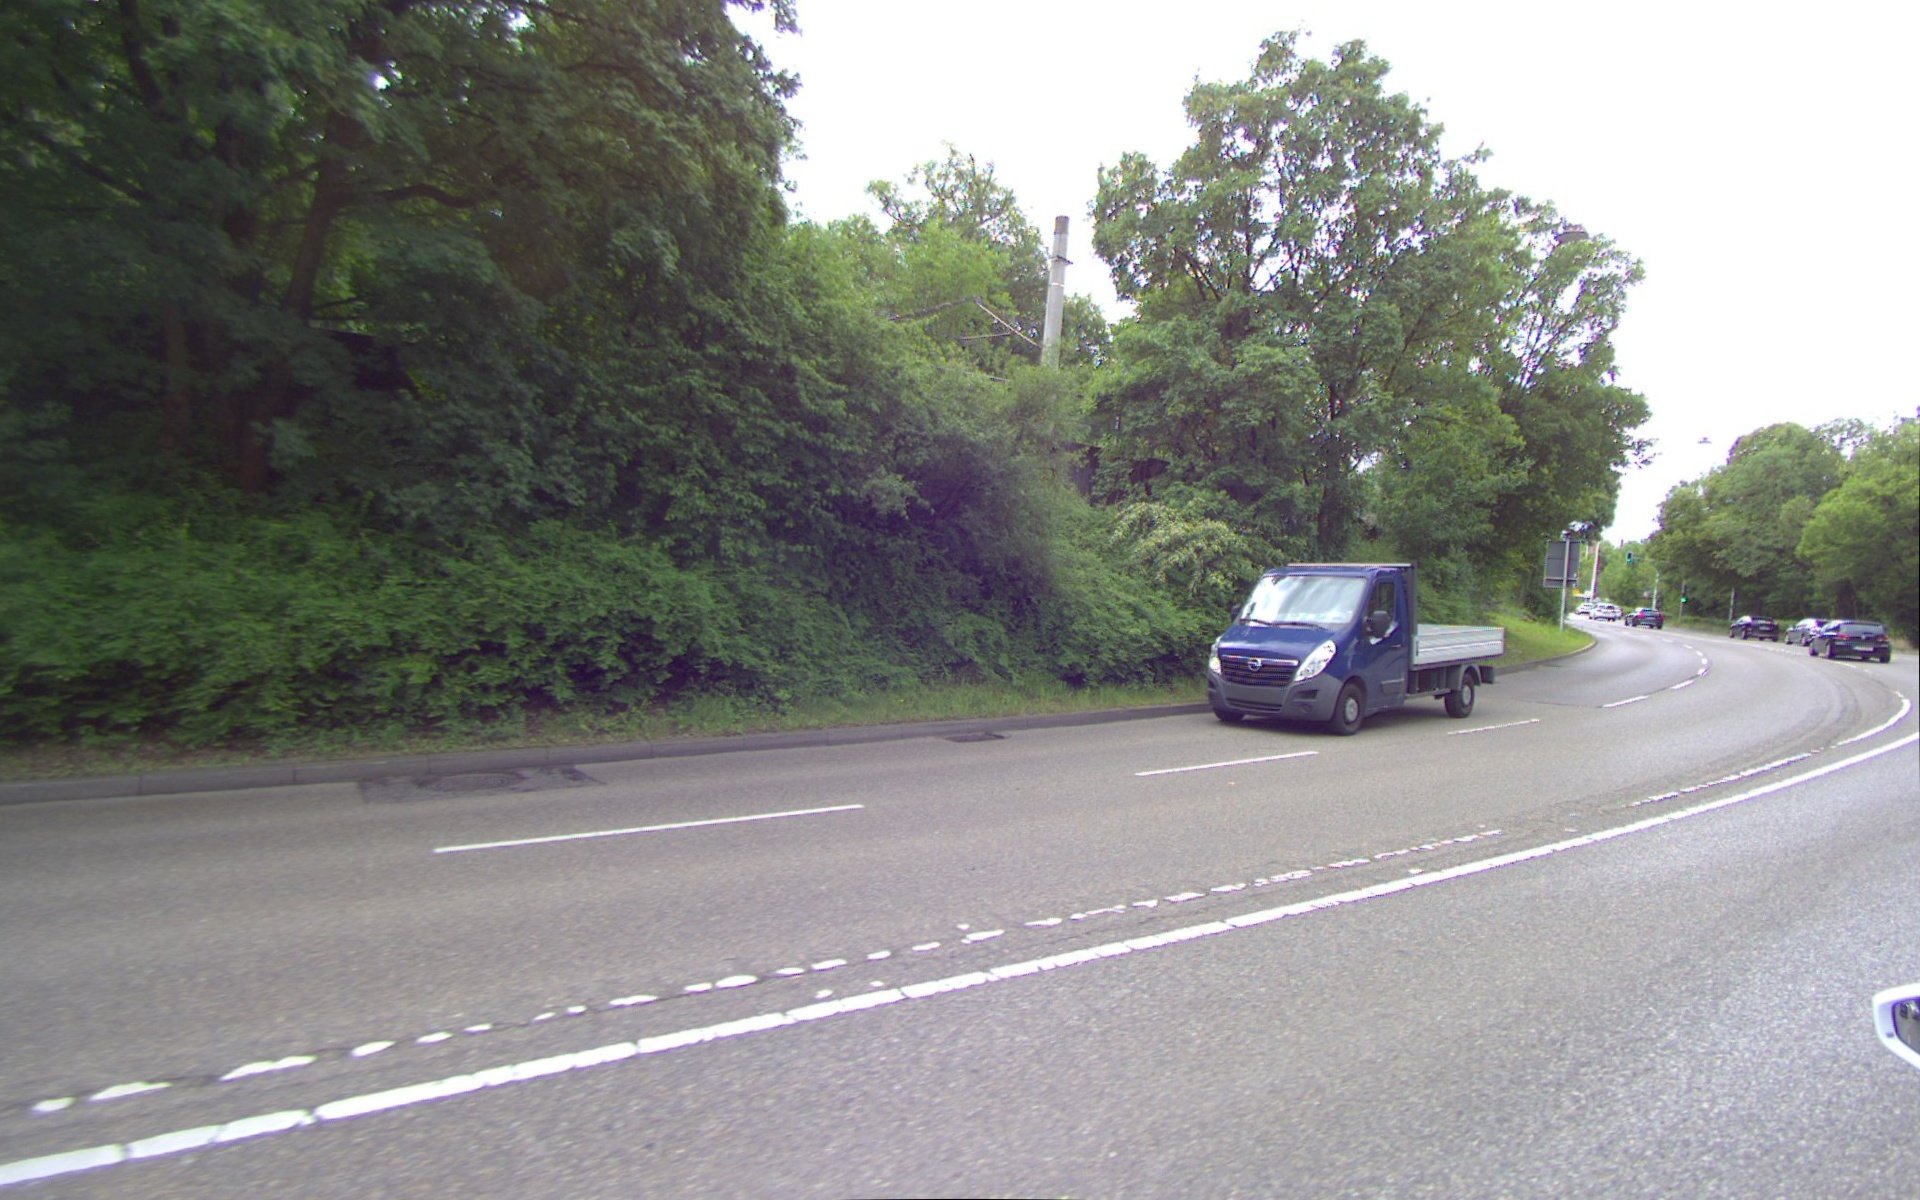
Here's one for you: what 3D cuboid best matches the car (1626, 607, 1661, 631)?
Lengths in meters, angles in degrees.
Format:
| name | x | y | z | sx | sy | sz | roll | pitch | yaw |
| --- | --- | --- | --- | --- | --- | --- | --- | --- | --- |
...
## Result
| name | x | y | z | sx | sy | sz | roll | pitch | yaw |
| --- | --- | --- | --- | --- | --- | --- | --- | --- | --- |
| car | 51.696 | 1.422 | 76.043 | 1.966 | 1.507 | 3.989 | 5 | 3 | 32 |

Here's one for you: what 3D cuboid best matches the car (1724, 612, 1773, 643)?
| name | x | y | z | sx | sy | sz | roll | pitch | yaw |
| --- | --- | --- | --- | --- | --- | --- | --- | --- | --- |
| car | 48.896 | 1.676 | 62.372 | 1.740 | 1.628 | 3.991 | 5 | 3 | 30 |

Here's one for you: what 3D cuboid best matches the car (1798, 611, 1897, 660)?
| name | x | y | z | sx | sy | sz | roll | pitch | yaw |
| --- | --- | --- | --- | --- | --- | --- | --- | --- | --- |
| car | 32.809 | 1.270 | 37.269 | 1.921 | 1.486 | 3.991 | 5 | 3 | 30 |

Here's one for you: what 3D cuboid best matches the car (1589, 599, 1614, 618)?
| name | x | y | z | sx | sy | sz | roll | pitch | yaw |
| --- | --- | --- | --- | --- | --- | --- | --- | --- | --- |
| car | 60.941 | 0.799 | 95.418 | 1.685 | 1.611 | 3.992 | 5 | 3 | 30 |

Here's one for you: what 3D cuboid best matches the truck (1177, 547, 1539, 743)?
| name | x | y | z | sx | sy | sz | roll | pitch | yaw |
| --- | --- | --- | --- | --- | --- | --- | --- | --- | --- |
| truck | 6.269 | 0.587 | 15.252 | 6.622 | 2.402 | 2.143 | 1 | 1 | -39 |
